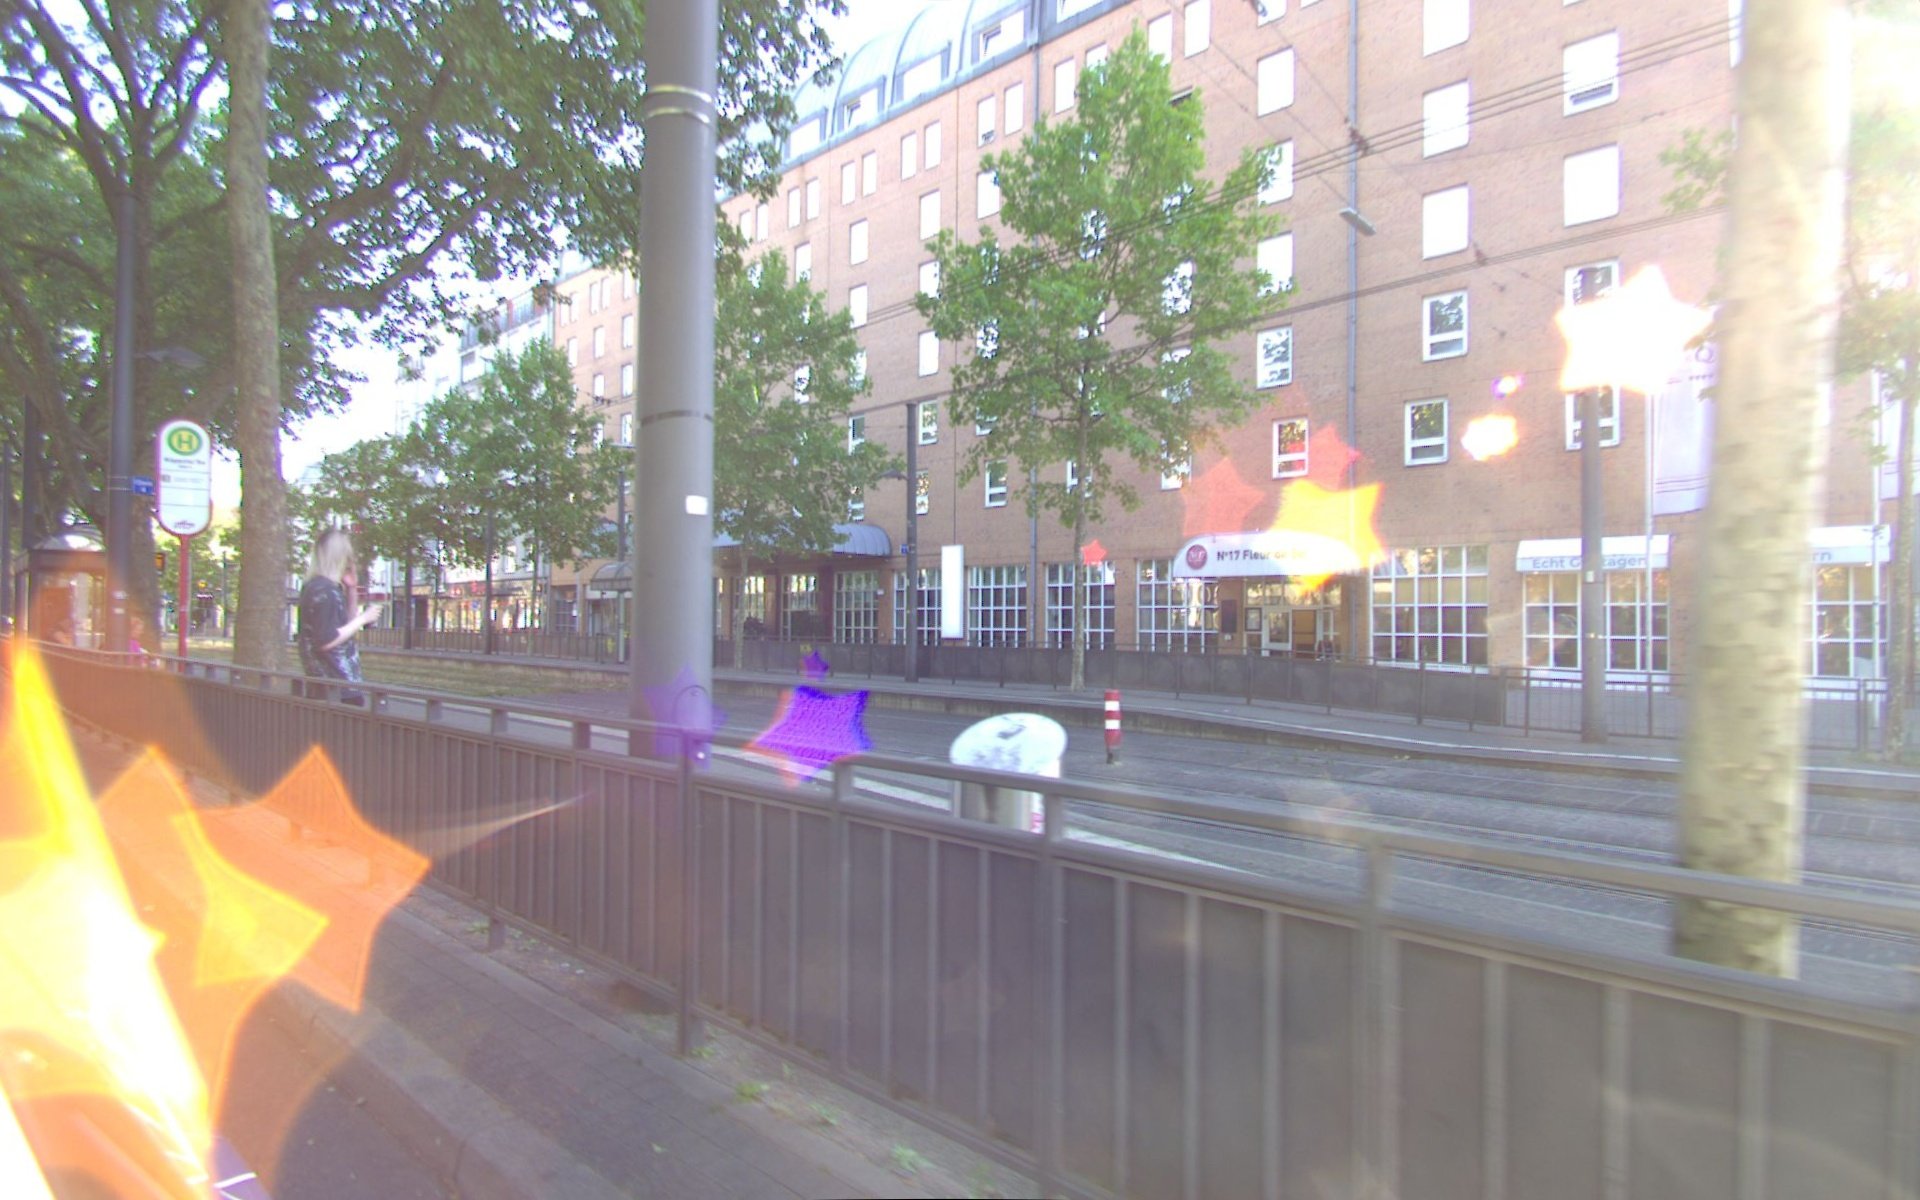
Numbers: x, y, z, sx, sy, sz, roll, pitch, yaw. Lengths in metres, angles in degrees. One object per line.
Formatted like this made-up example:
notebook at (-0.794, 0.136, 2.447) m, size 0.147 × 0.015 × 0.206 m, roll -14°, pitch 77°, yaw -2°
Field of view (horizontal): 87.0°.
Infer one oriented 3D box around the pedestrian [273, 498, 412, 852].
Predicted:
pedestrian at (-3.611, 0.408, 5.914) m, size 0.759 × 1.914 × 0.504 m, roll -1°, pitch -1°, yaw 42°

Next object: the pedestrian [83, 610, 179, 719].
pedestrian at (-11.254, 0.848, 13.747) m, size 0.965 × 1.410 × 0.665 m, roll 0°, pitch -1°, yaw -44°

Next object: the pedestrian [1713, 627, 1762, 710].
pedestrian at (15.413, 1.336, 20.062) m, size 0.725 × 1.596 × 0.583 m, roll -1°, pitch 0°, yaw 40°

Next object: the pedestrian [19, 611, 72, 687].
pedestrian at (-17.347, 0.920, 19.194) m, size 0.725 × 1.398 × 0.641 m, roll 0°, pitch -1°, yaw -44°
